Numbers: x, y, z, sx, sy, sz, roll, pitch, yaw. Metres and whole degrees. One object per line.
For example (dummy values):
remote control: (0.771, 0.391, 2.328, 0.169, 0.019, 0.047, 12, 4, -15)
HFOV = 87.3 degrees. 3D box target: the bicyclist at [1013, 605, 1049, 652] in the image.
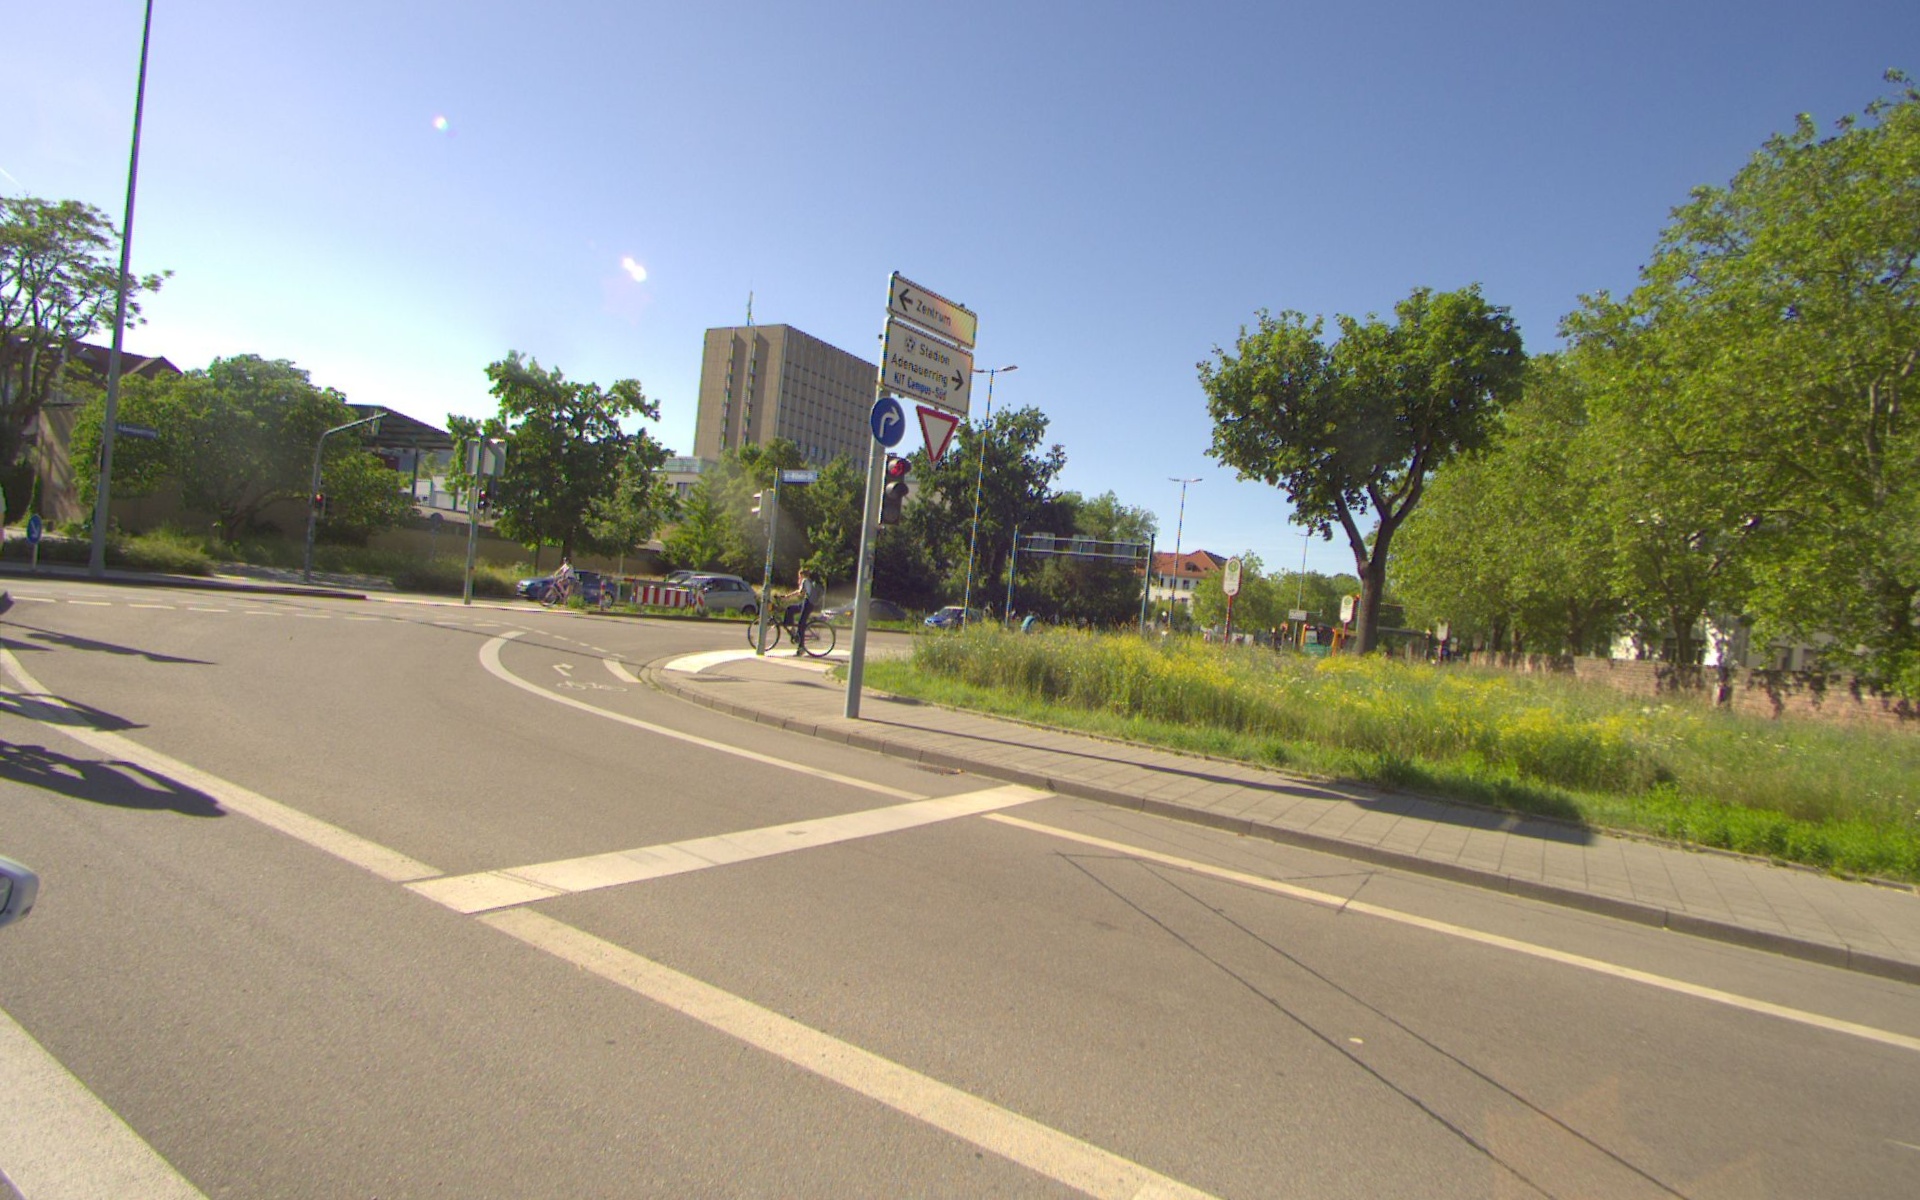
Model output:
bicyclist: (2.487, 1.011, 35.316, 0.632, 1.533, 1.049, 7, 2, 39)

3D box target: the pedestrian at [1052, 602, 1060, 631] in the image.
pedestrian: (8.313, 1.435, 87.344, 0.267, 2.451, 0.300, 6, -1, 34)

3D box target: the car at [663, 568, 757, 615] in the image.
car: (-11.841, -0.369, 47.799, 1.767, 1.771, 3.986, 7, 0, 37)

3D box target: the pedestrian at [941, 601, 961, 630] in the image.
pedestrian: (-0.676, 1.159, 76.338, 0.752, 2.039, 1.267, 7, 1, 36)

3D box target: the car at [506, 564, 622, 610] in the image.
car: (-16.209, -0.528, 41.321, 1.767, 1.415, 3.986, 7, 0, 37)

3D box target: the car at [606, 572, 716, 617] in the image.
car: (-12.298, -0.202, 41.573, 1.767, 1.415, 3.986, 7, 0, 37)

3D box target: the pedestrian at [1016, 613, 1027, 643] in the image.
pedestrian: (5.188, 2.359, 84.843, 0.401, 2.451, 0.467, 6, -1, 34)

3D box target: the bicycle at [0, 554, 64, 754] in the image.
bicycle: (-6.317, 0.234, 6.127, 1.890, 1.102, 0.690, 6, -1, 32)

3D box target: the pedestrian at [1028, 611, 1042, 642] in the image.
pedestrian: (6.316, 2.242, 84.784, 0.710, 2.451, 0.585, 6, -1, 34)

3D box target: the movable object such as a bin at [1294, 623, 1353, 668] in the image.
movable object such as a bin: (27.890, 3.564, 76.931, 2.954, 2.898, 9.178, 6, 0, 27)

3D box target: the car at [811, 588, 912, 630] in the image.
car: (-4.308, 0.433, 44.633, 1.767, 1.415, 4.557, 7, 0, 37)

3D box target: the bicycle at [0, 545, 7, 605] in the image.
bicycle: (-8.191, 0.024, 7.753, 1.890, 1.102, 0.690, 6, -1, 32)

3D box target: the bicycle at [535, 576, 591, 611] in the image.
bicycle: (-13.935, -0.229, 35.362, 0.602, 1.046, 1.681, 7, 0, 37)

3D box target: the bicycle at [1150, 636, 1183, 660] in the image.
bicycle: (9.341, 2.178, 45.434, 0.514, 1.000, 1.965, 7, 1, 39)

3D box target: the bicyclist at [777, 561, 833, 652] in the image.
bicyclist: (-3.036, 0.124, 19.708, 0.898, 1.667, 0.630, 6, 1, -9)

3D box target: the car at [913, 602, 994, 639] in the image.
car: (-0.293, 1.048, 50.460, 1.916, 1.415, 3.986, 6, 0, 37)

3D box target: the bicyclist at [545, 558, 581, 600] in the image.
bicyclist: (-13.933, -0.724, 35.285, 0.602, 1.360, 0.874, 7, 1, 37)

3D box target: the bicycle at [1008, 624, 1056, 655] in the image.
bicycle: (2.538, 1.400, 35.430, 0.640, 0.986, 1.895, 7, 1, 39)

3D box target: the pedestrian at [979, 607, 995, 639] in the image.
pedestrian: (2.160, 1.879, 80.618, 0.660, 2.451, 0.770, 6, -1, 34)

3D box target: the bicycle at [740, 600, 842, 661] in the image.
bicycle: (-3.290, 0.591, 19.680, 1.856, 0.970, 0.635, 7, 1, -10)

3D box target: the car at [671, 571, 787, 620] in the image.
car: (-8.738, -0.132, 38.292, 1.767, 1.415, 3.986, 7, 0, 37)

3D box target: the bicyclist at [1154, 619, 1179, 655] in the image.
bicyclist: (9.312, 1.659, 45.321, 0.509, 1.548, 1.067, 7, 2, 39)

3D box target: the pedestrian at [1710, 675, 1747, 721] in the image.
pedestrian: (26.091, 3.320, 34.156, 0.712, 1.460, 0.523, 7, -1, 2)

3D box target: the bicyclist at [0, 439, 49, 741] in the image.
bicyclist: (-6.330, -0.120, 6.162, 1.123, 1.813, 0.684, 7, 0, 32)
